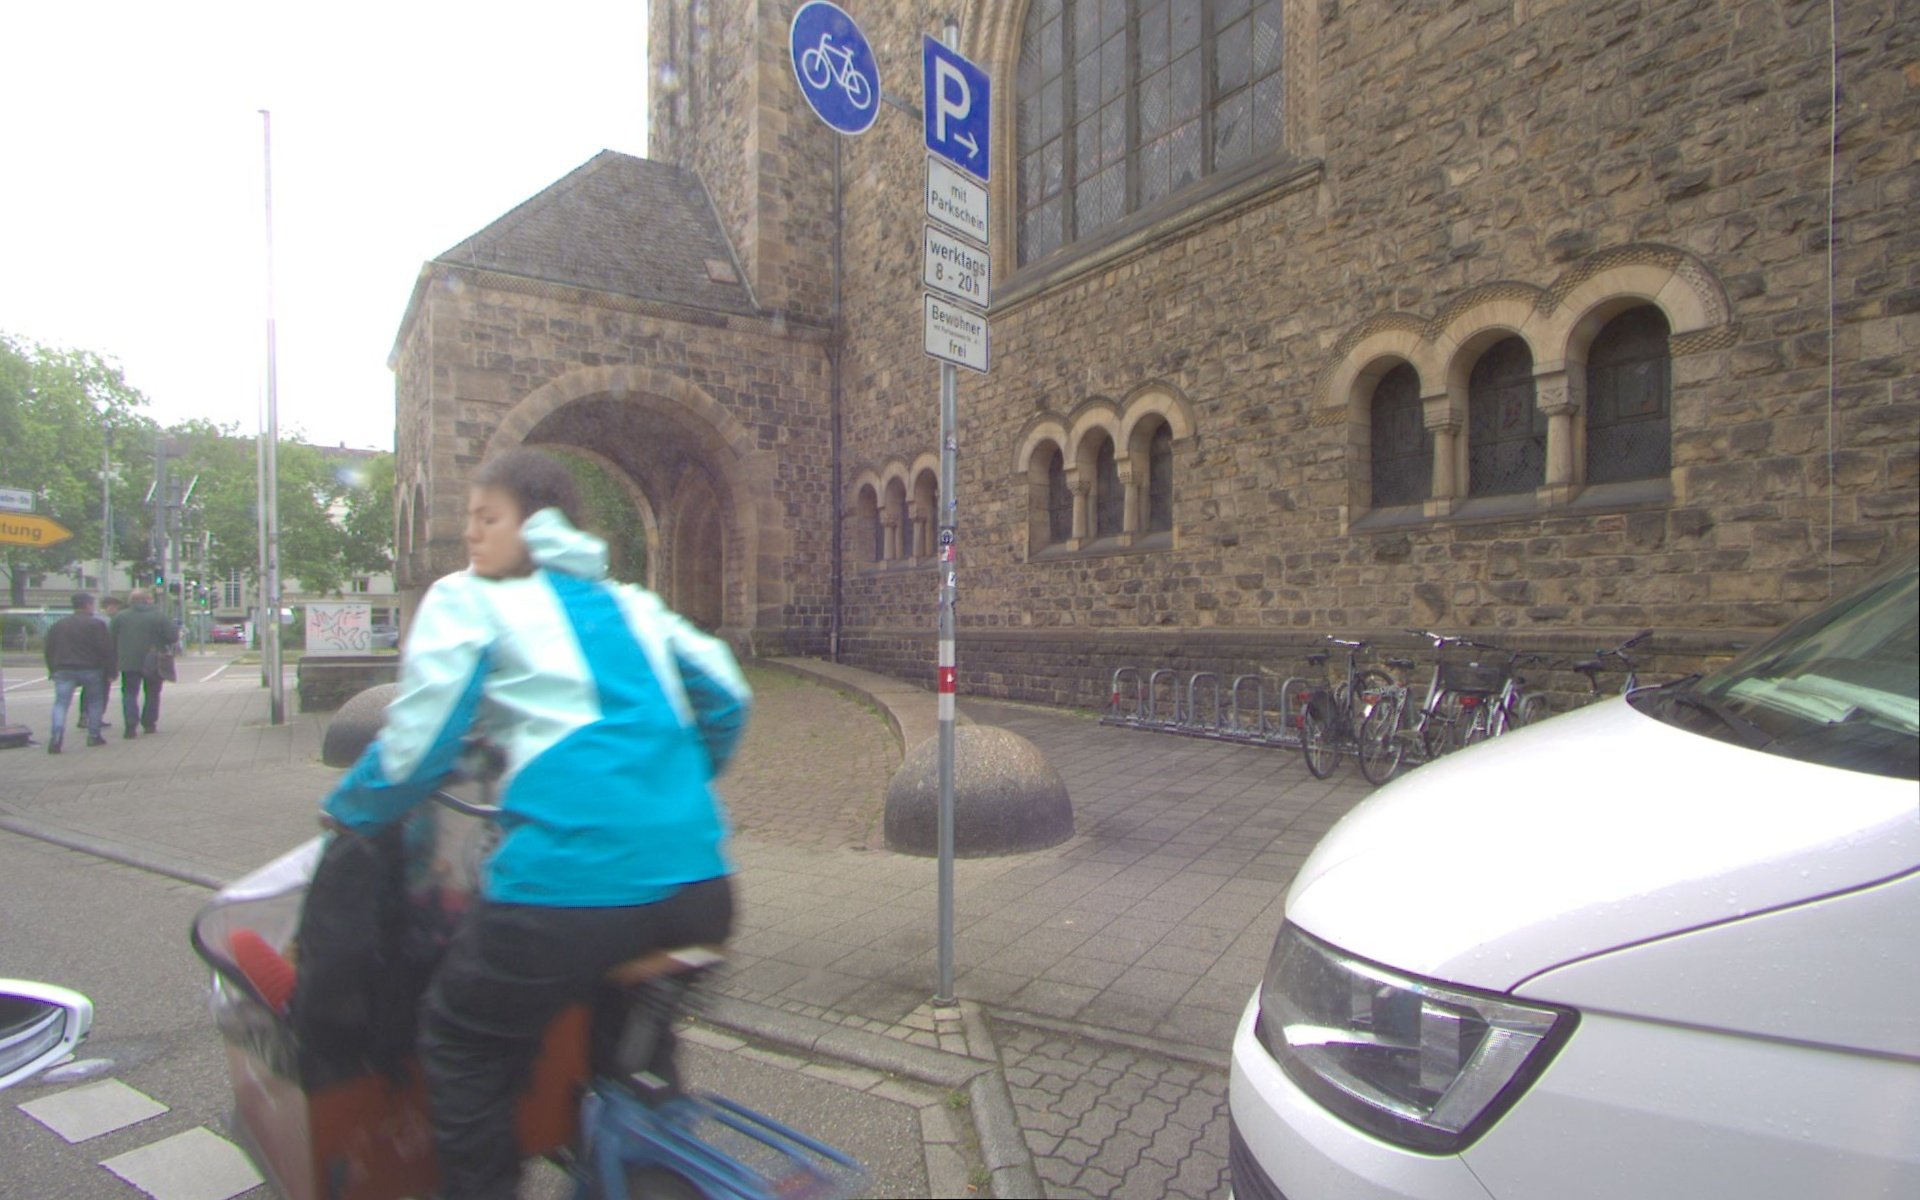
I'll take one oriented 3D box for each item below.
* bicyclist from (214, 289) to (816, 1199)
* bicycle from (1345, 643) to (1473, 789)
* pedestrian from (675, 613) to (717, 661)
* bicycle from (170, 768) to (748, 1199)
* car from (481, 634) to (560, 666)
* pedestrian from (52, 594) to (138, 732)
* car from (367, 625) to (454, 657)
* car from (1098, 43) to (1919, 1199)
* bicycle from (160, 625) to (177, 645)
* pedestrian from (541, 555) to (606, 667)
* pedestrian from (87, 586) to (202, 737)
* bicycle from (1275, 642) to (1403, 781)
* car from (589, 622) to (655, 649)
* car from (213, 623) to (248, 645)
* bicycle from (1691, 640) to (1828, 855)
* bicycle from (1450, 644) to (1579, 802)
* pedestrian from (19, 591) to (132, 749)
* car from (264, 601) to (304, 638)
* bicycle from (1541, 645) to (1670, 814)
[{"bbox_3d":[-0.843,0.414,1.801,0.681,1.537,1.048,0,-1,-44],"label":"bicyclist"},{"bbox_3d":[3.635,0.897,8.060,1.366,1.073,0.309,1,-1,-36],"label":"bicycle"},{"bbox_3d":[-5.437,0.760,20.647,0.665,0.964,0.611,0,-1,-36],"label":"pedestrian"},{"bbox_3d":[-1.197,1.039,2.039,0.490,1.112,2.118,0,-1,-43],"label":"bicycle"},{"bbox_3d":[-24.804,2.809,56.554,3.899,1.733,1.676,1,-1,-35],"label":"car"},{"bbox_3d":[-11.088,0.775,12.827,0.957,1.696,0.630,0,2,39],"label":"pedestrian"},{"bbox_3d":[-29.256,2.158,53.332,3.939,1.581,1.676,1,-1,-35],"label":"car"},{"bbox_3d":[2.812,0.468,0.782,5.088,1.945,1.802,-1,-1,31],"label":"car"},{"bbox_3d":[-39.721,1.756,50.261,0.546,1.008,2.047,0,-1,-35],"label":"bicycle"},{"bbox_3d":[-6.616,0.196,17.118,0.806,1.832,1.012,0,0,-37],"label":"pedestrian"},{"bbox_3d":[-10.131,0.729,12.447,0.955,1.782,0.802,0,2,32],"label":"pedestrian"},{"bbox_3d":[3.189,0.895,8.369,1.366,1.073,0.309,1,-1,-36],"label":"bicycle"},{"bbox_3d":[-20.069,2.093,59.515,3.423,1.581,1.676,1,-1,-35],"label":"car"},{"bbox_3d":[-51.501,2.387,70.743,1.647,1.535,3.916,1,-1,-31],"label":"car"},{"bbox_3d":[4.814,0.829,6.009,1.327,1.161,0.309,1,-1,-36],"label":"bicycle"},{"bbox_3d":[4.182,0.882,7.519,1.366,1.073,0.309,1,-1,-36],"label":"bicycle"},{"bbox_3d":[-10.036,0.760,11.365,0.955,1.708,0.673,0,2,32],"label":"pedestrian"},{"bbox_3d":[-50.544,1.474,74.986,2.211,2.673,5.417,1,-1,-31],"label":"car"},{"bbox_3d":[4.544,0.864,7.025,1.327,1.073,0.309,1,-1,-36],"label":"bicycle"}]
